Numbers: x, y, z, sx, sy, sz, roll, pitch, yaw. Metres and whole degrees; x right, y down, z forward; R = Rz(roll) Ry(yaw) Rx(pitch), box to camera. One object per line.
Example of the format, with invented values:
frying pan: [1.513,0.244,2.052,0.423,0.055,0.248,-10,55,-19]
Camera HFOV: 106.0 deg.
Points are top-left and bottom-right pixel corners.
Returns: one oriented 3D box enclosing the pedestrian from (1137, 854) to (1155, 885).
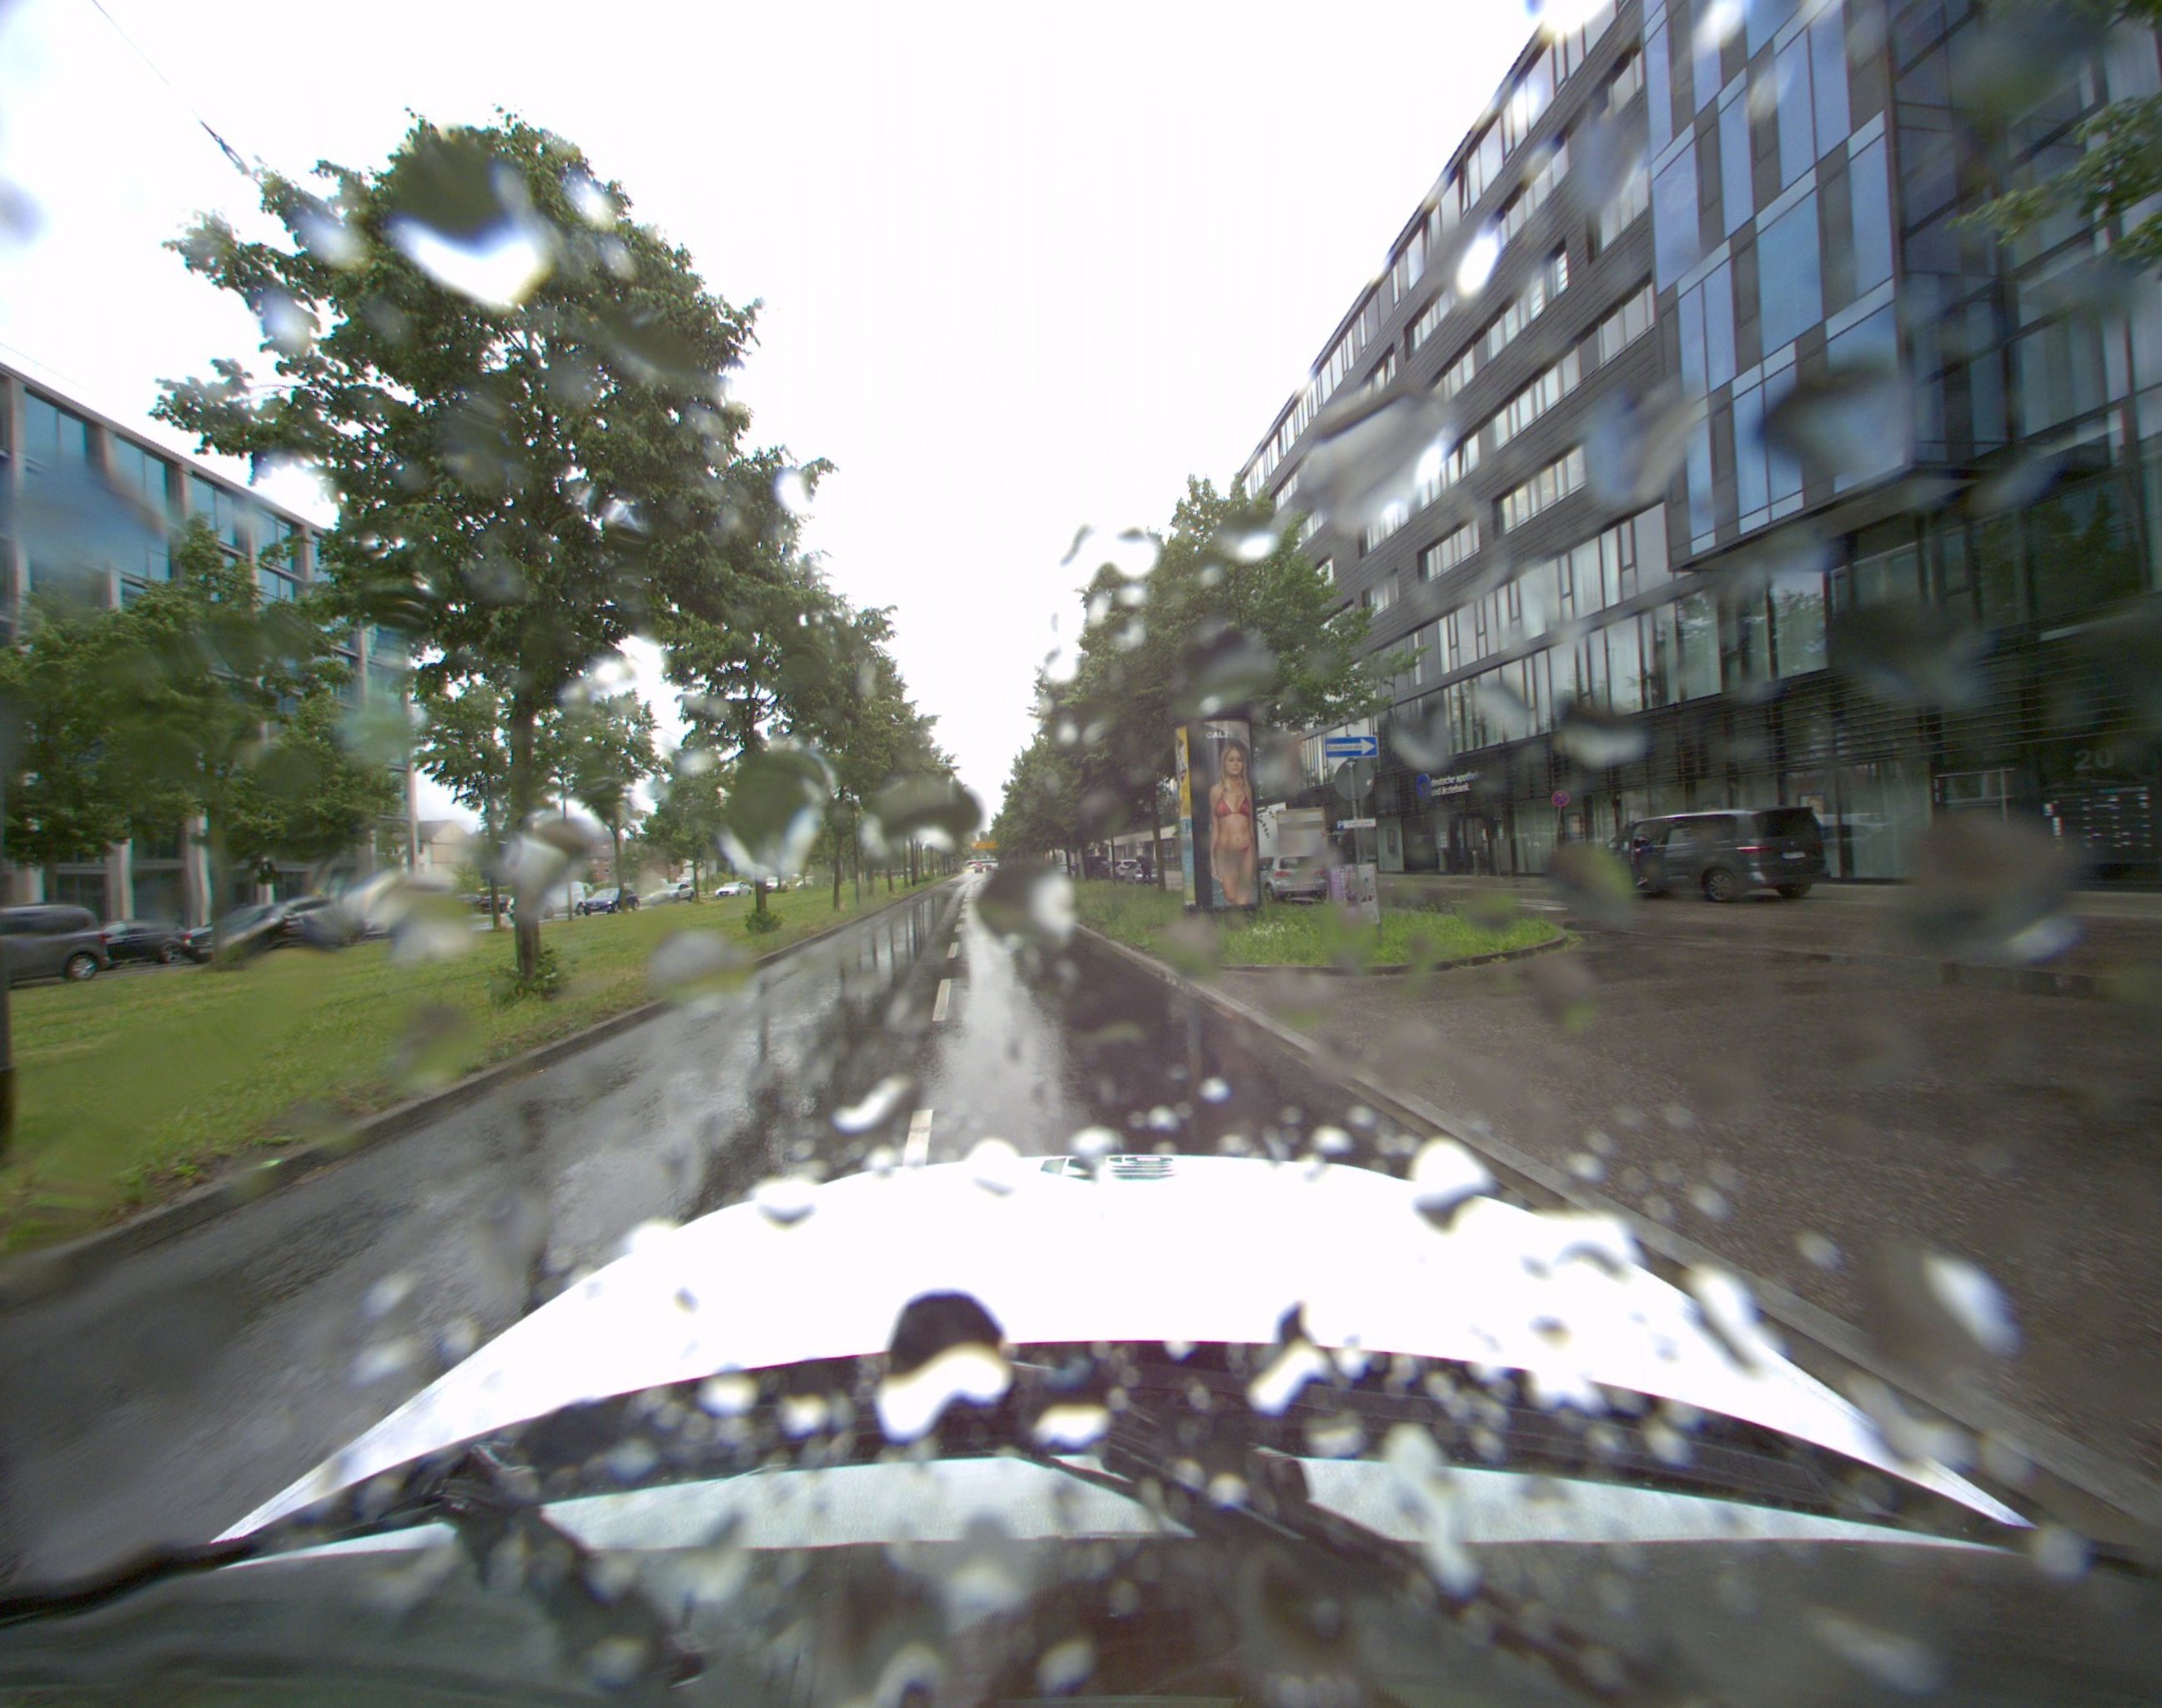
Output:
pedestrian: [3.242,0.758,40.614,0.698,1.493,0.642,-3,-1,-11]

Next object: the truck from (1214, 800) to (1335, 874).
truck: [10.083,-0.780,43.671,3.025,3.441,8.517,-3,-1,-10]

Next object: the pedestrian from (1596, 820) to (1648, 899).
pedestrian: [12.231,0.116,18.418,0.580,1.739,0.801,-2,1,-10]

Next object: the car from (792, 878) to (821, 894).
car: [-31.482,3.623,93.635,1.947,1.460,4.825,-3,2,-4]

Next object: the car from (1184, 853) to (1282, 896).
car: [5.760,0.781,31.666,1.994,1.444,5.218,-3,0,-10]

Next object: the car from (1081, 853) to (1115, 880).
car: [1.311,0.962,65.629,1.992,1.952,5.017,-3,2,-7]

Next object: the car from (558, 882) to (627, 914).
car: [-28.585,2.549,47.786,1.949,1.494,3.953,-3,2,-7]

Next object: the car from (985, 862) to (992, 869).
car: [-27.974,3.463,246.190,1.990,2.013,3.993,-3,2,-5]

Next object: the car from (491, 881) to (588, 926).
car: [-30.918,2.743,46.749,2.265,2.006,5.361,-3,2,-6]

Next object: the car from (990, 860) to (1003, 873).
car: [-14.244,2.112,137.319,1.939,2.013,3.991,-3,2,-7]

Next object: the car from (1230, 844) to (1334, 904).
car: [6.170,0.555,25.445,1.759,1.596,4.090,-3,2,-7]

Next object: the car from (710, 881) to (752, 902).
car: [-29.160,3.085,67.990,1.949,1.513,4.563,-3,-1,-8]

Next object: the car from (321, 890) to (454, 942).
car: [-29.744,2.587,35.186,1.951,1.651,5.014,-3,2,-10]

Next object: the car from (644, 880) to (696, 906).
car: [-31.752,2.966,63.118,1.947,1.749,4.568,-3,-1,-5]

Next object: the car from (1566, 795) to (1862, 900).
car: [13.641,-0.105,18.094,1.994,1.920,5.131,-3,0,-10]

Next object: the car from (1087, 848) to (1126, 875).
car: [1.773,0.505,58.646,1.992,1.669,4.946,-3,2,-7]

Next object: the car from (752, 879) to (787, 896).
car: [-29.367,3.123,76.907,1.949,1.452,4.563,-3,-1,-8]

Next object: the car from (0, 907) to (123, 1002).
car: [-24.101,2.274,17.489,1.950,1.848,4.531,-3,1,-8]

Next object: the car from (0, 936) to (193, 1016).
car: [-28.018,3.336,22.707,1.858,1.446,4.610,-3,2,-10]

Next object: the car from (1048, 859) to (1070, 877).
car: [-2.462,1.514,89.810,1.992,1.669,4.712,-3,2,-7]

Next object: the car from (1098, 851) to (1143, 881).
car: [2.490,0.738,52.492,1.992,1.669,4.712,-3,2,-7]

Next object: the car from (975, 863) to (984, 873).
car: [-24.346,3.378,195.315,1.990,2.013,3.993,-3,2,-5]

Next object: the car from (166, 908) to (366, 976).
car: [-25.081,2.647,25.362,1.950,1.385,4.592,-3,2,-8]

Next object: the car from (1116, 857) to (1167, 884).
car: [3.412,0.904,46.793,1.770,1.452,4.707,-2,0,-10]
